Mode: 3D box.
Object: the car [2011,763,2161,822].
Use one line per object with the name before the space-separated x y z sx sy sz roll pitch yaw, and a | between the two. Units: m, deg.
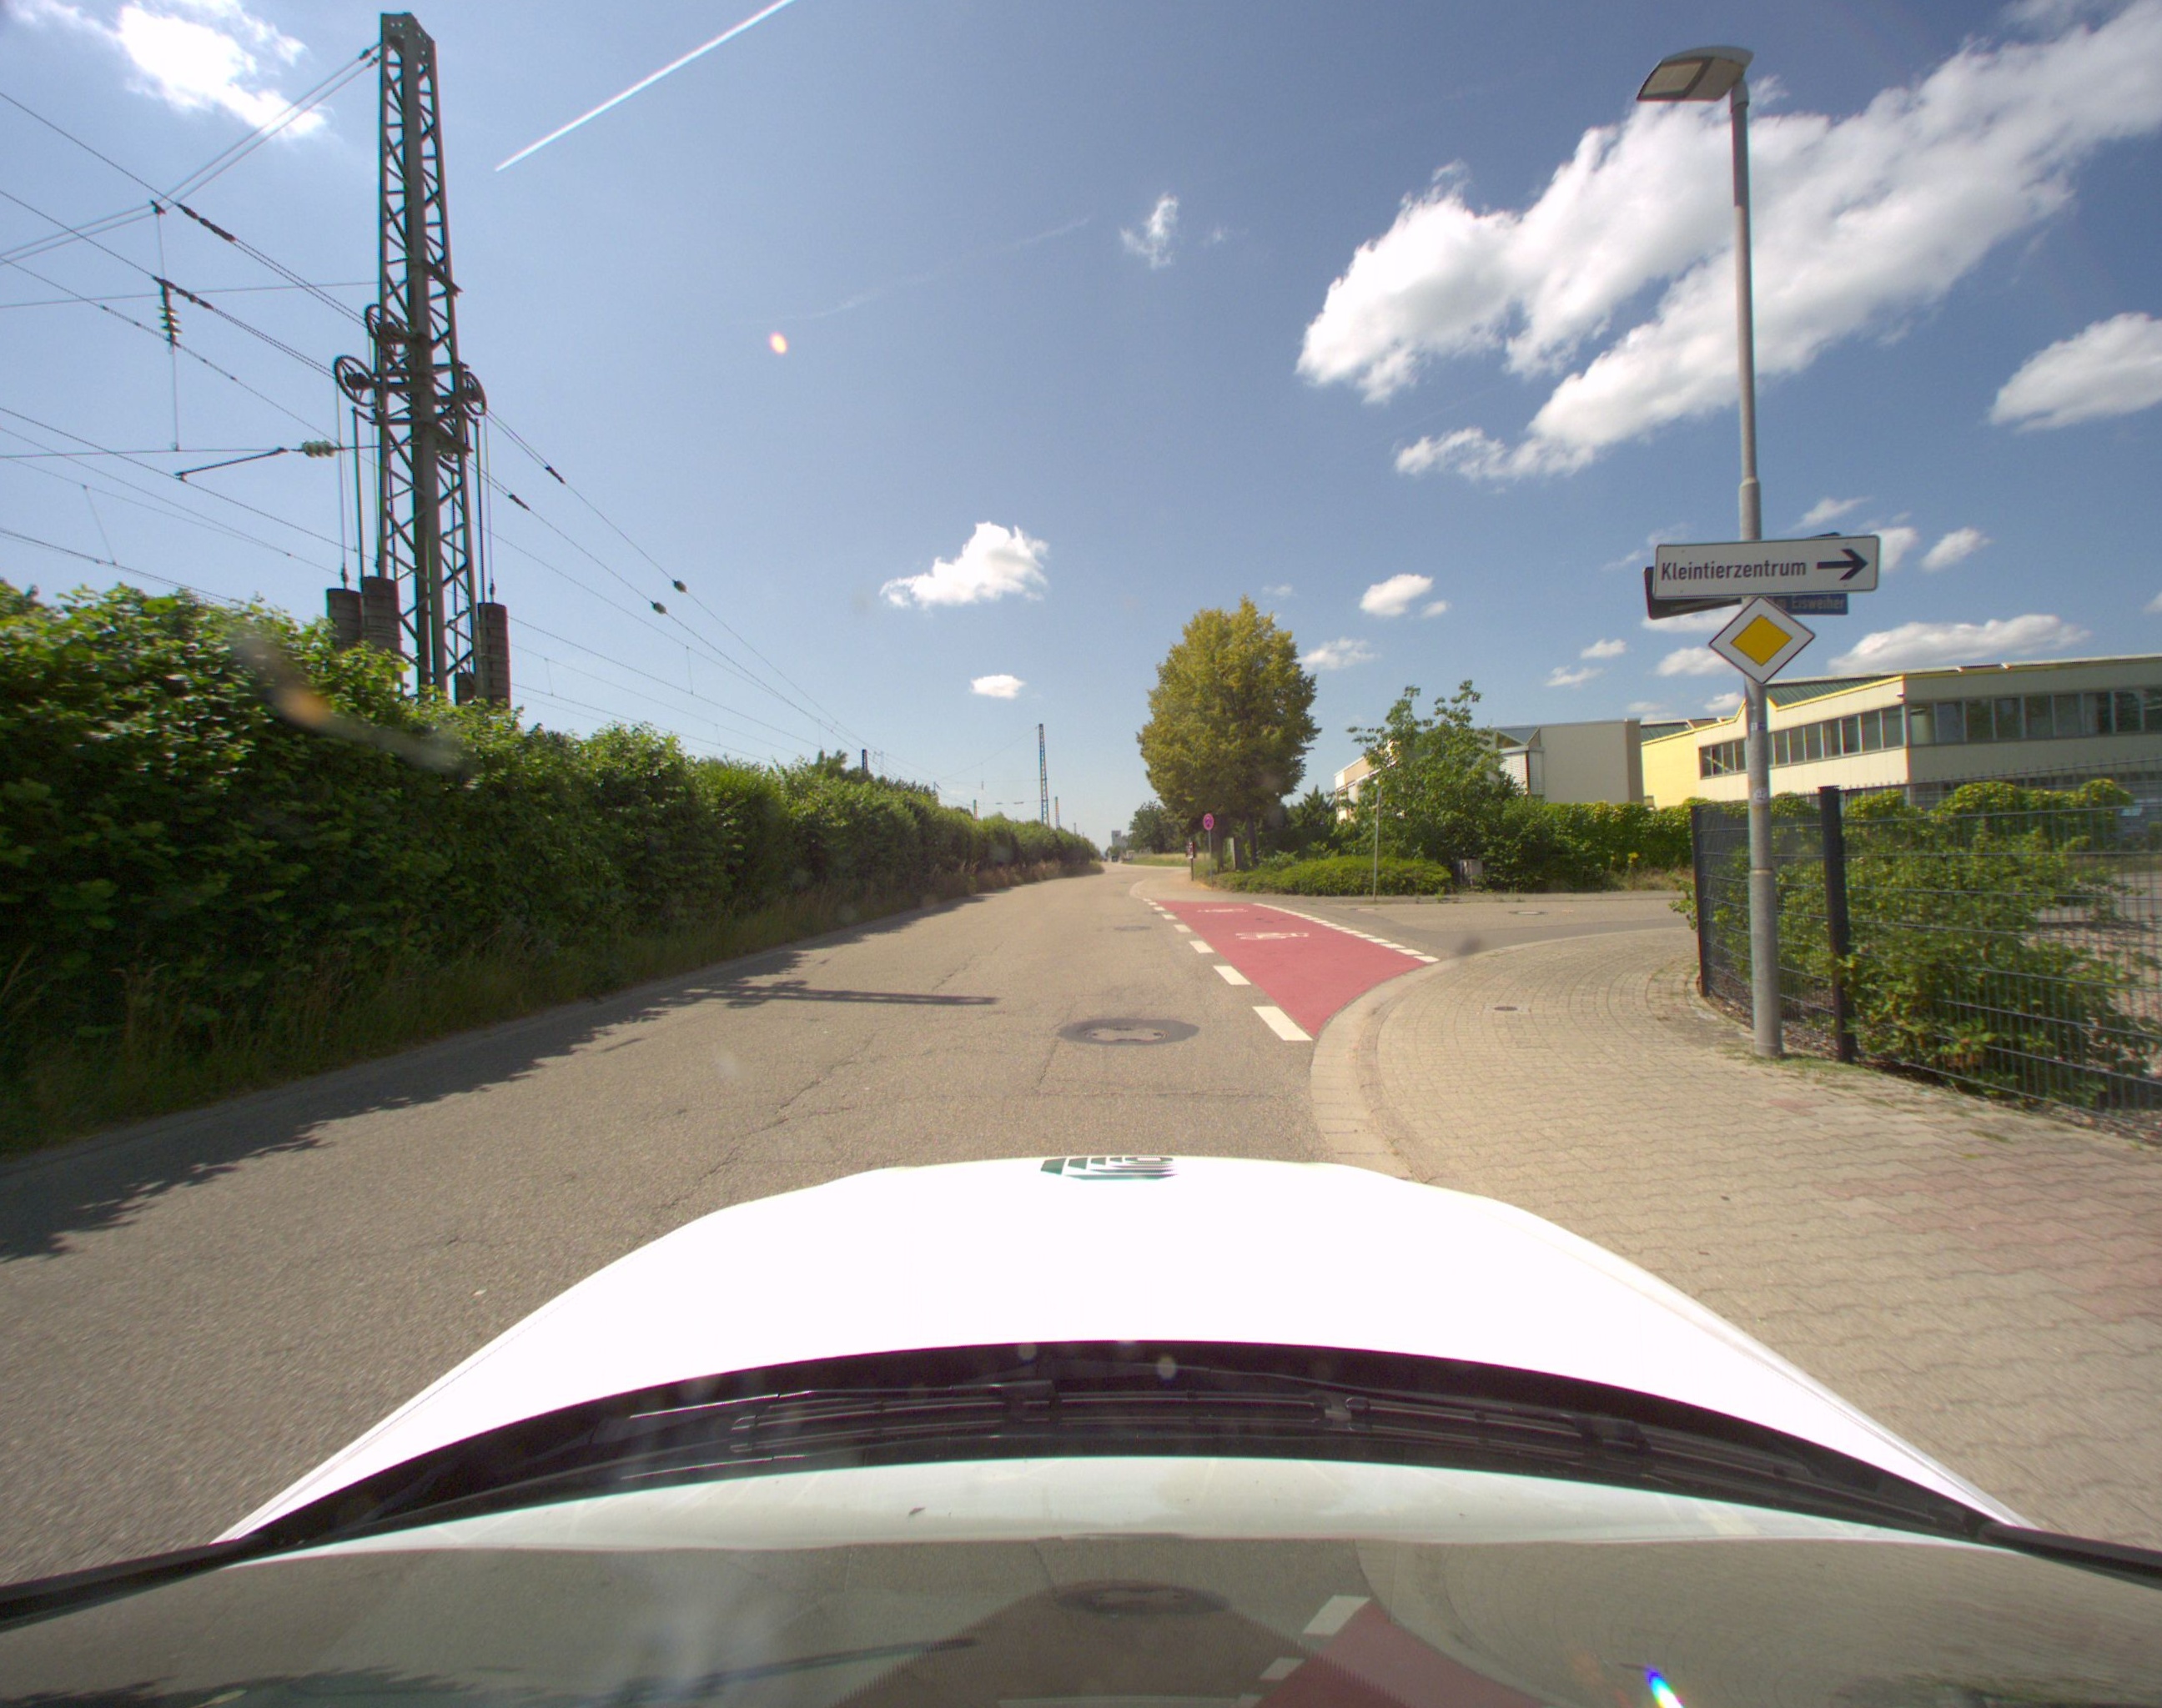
car | 43.905 -2.610 35.693 1.981 2.014 4.010 -3 -3 10
